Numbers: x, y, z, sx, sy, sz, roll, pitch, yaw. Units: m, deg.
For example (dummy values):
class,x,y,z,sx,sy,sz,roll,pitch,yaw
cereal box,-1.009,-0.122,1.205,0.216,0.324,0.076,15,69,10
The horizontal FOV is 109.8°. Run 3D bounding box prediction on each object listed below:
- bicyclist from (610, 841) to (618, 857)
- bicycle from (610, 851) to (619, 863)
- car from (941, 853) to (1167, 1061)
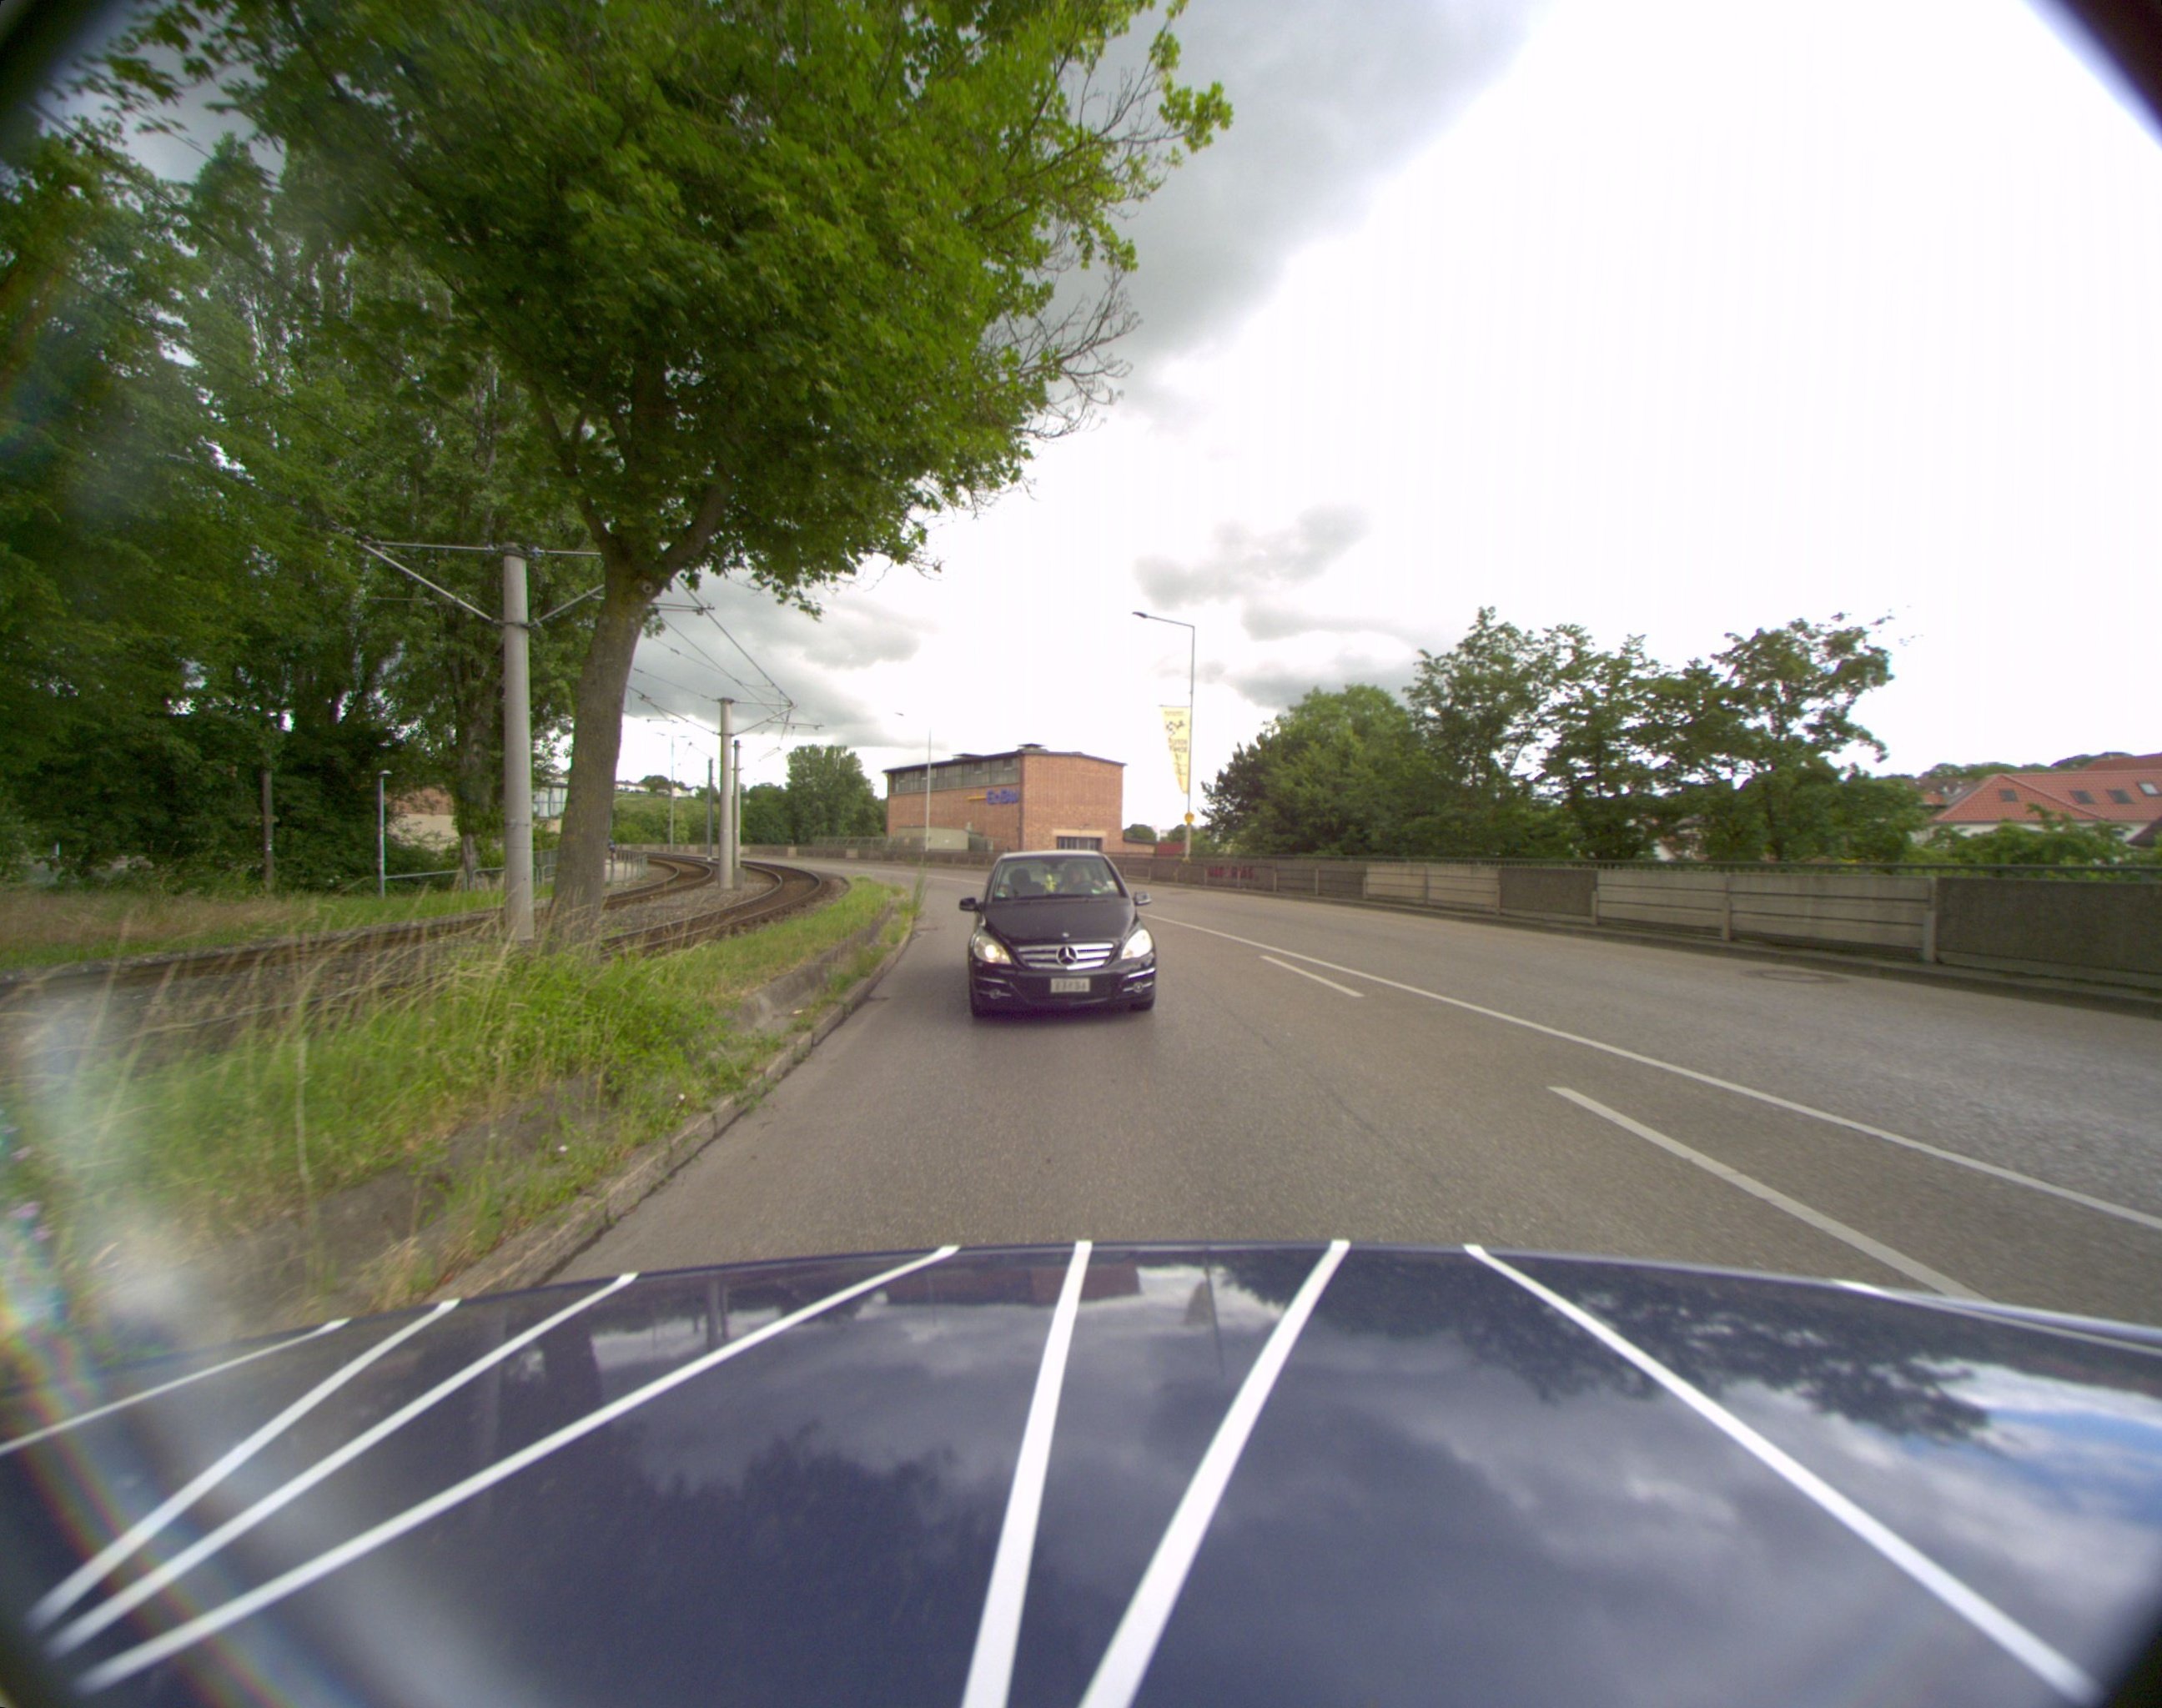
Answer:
class,x,y,z,sx,sy,sz,roll,pitch,yaw
bicyclist,-31.617,-0.364,51.454,0.418,1.077,0.473,-1,1,-26
bicycle,-31.625,0.208,51.484,0.348,0.790,1.544,-1,1,-25
car,-0.332,0.849,8.277,1.861,1.612,3.997,0,2,-3
